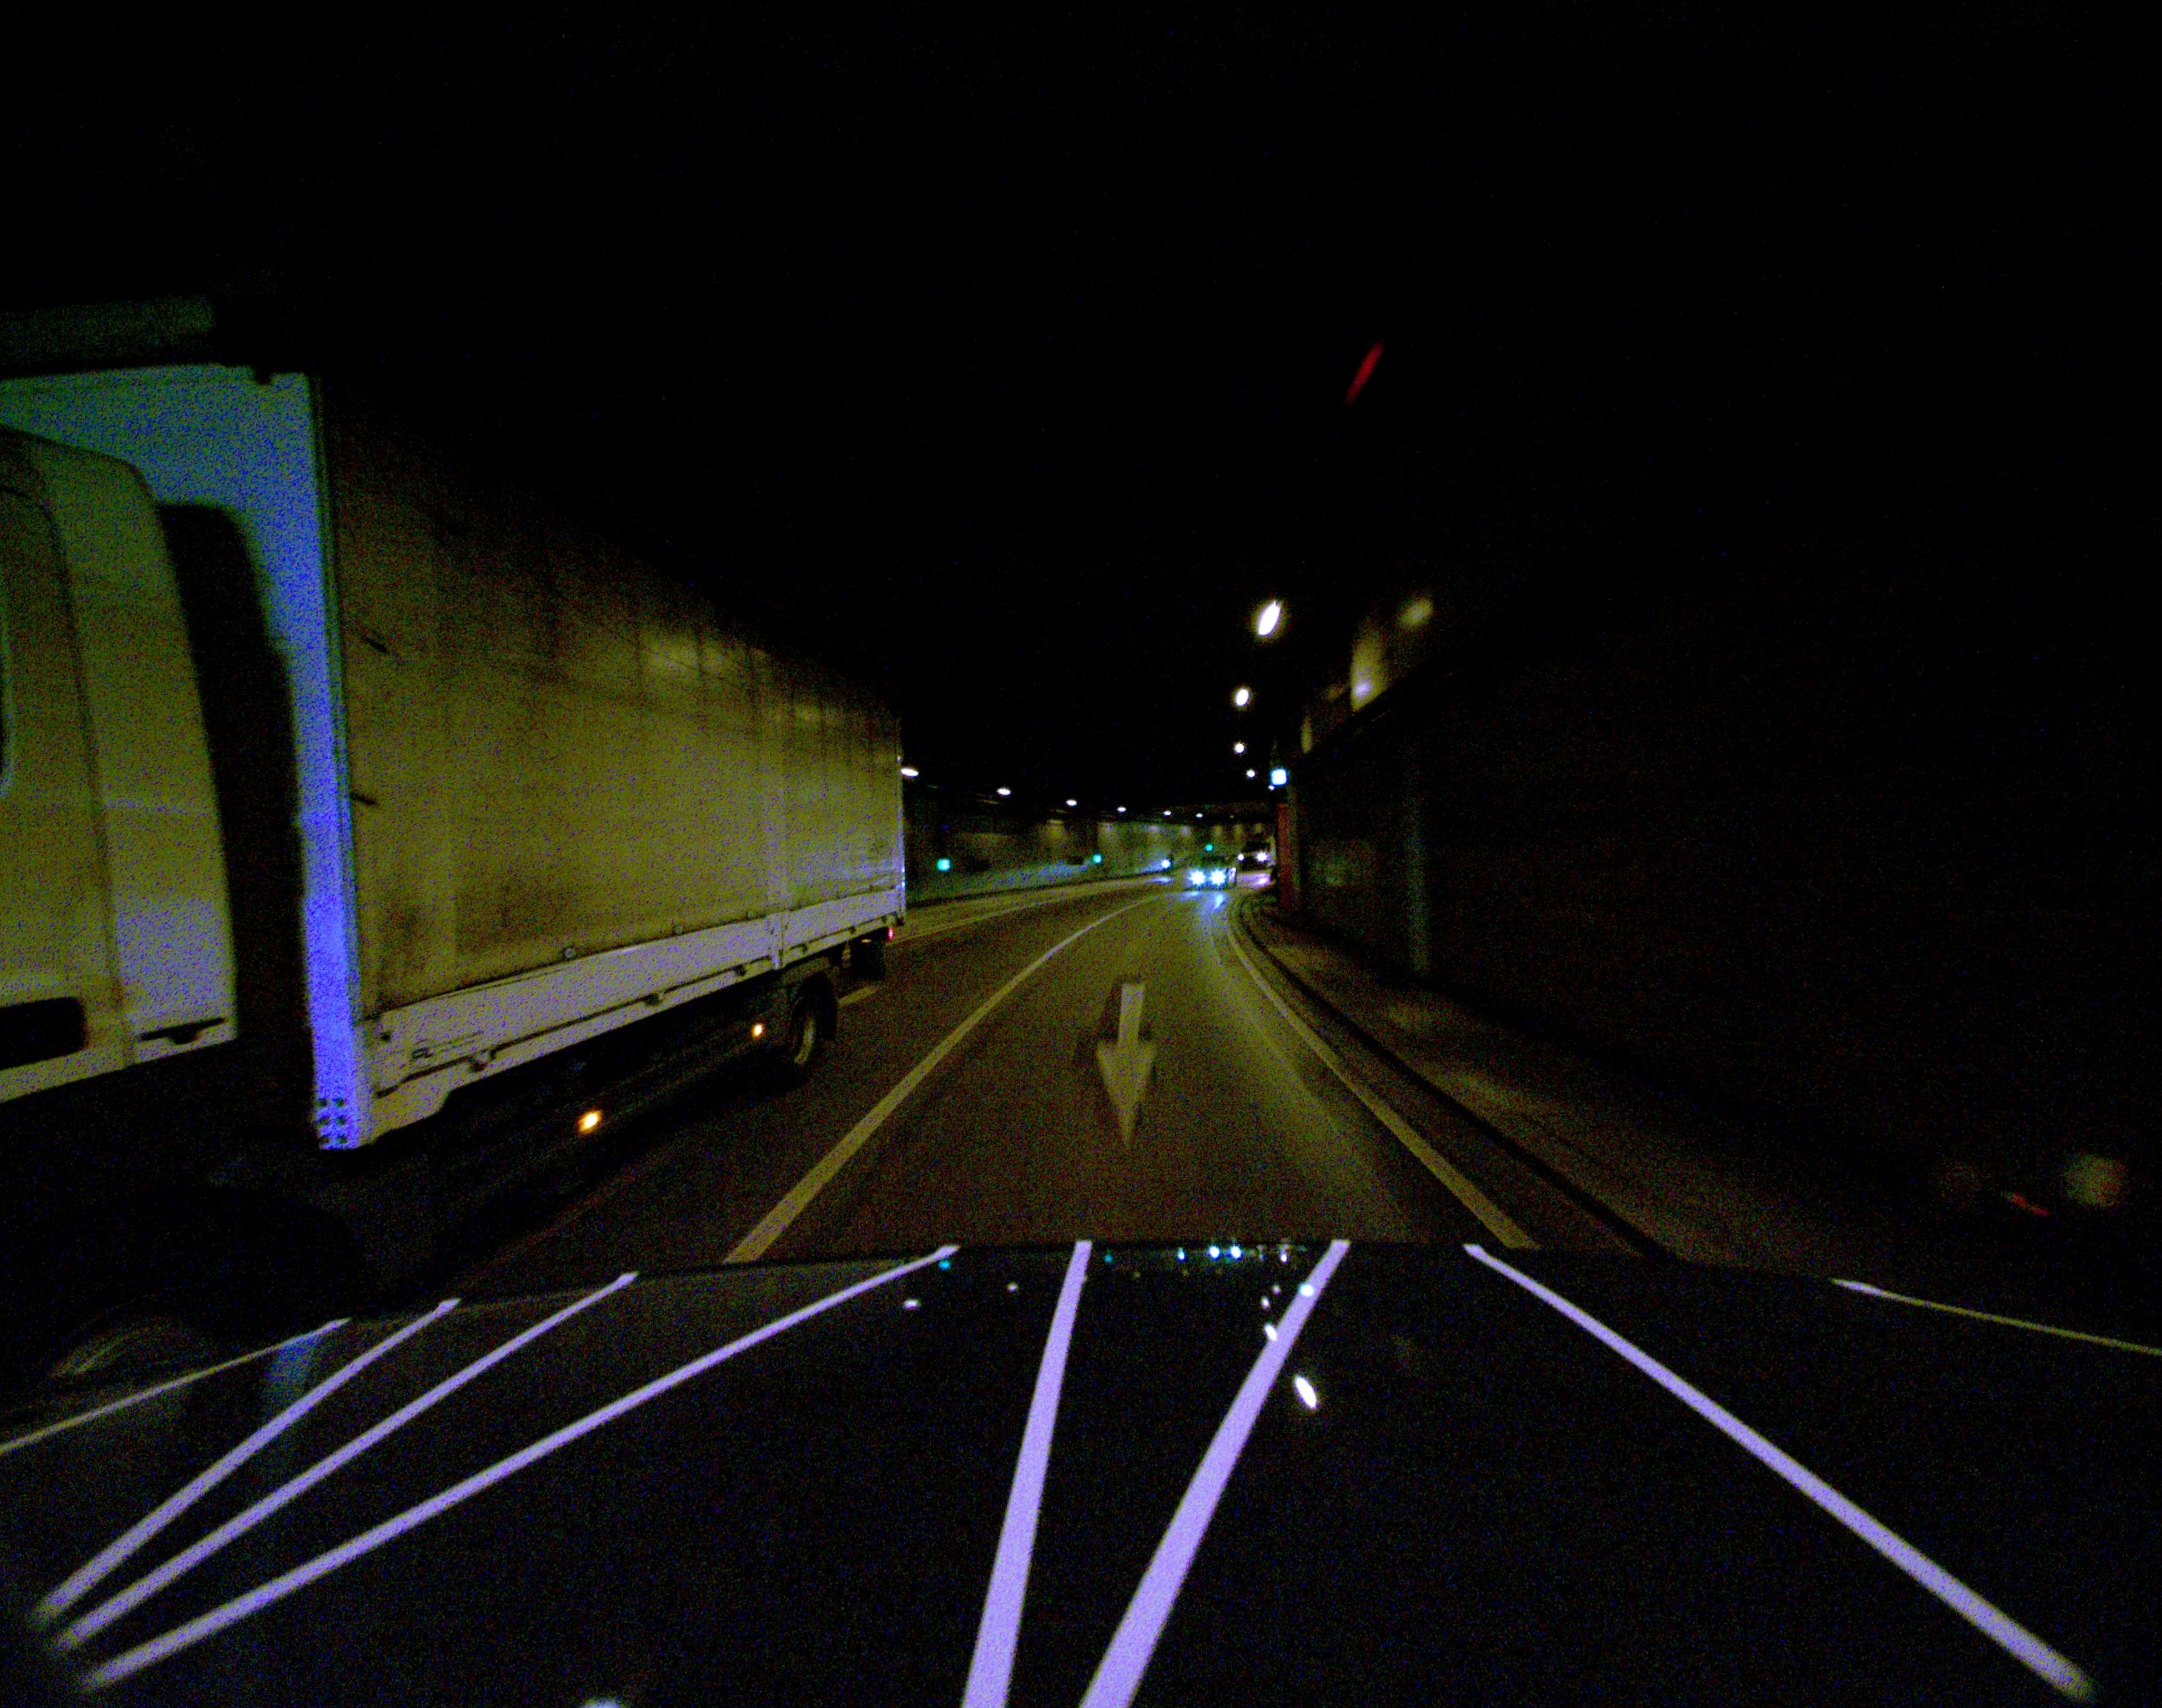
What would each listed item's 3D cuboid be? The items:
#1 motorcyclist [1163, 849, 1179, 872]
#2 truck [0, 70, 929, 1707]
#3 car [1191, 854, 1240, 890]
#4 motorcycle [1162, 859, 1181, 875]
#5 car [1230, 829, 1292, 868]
[{"bbox_3d":[6.333,0.458,53.613,0.745,1.482,0.788,-4,1,31],"label":"motorcyclist"},{"bbox_3d":[-3.160,0.140,3.915,2.635,3.220,7.417,-3,0,4],"label":"truck"},{"bbox_3d":[6.216,0.776,34.801,1.719,1.455,4.004,-3,0,17],"label":"car"},{"bbox_3d":[6.375,0.909,53.633,0.549,0.970,1.838,-4,1,31],"label":"motorcycle"},{"bbox_3d":[14.266,-0.487,59.694,2.555,2.752,7.364,-2,0,31],"label":"car"}]
